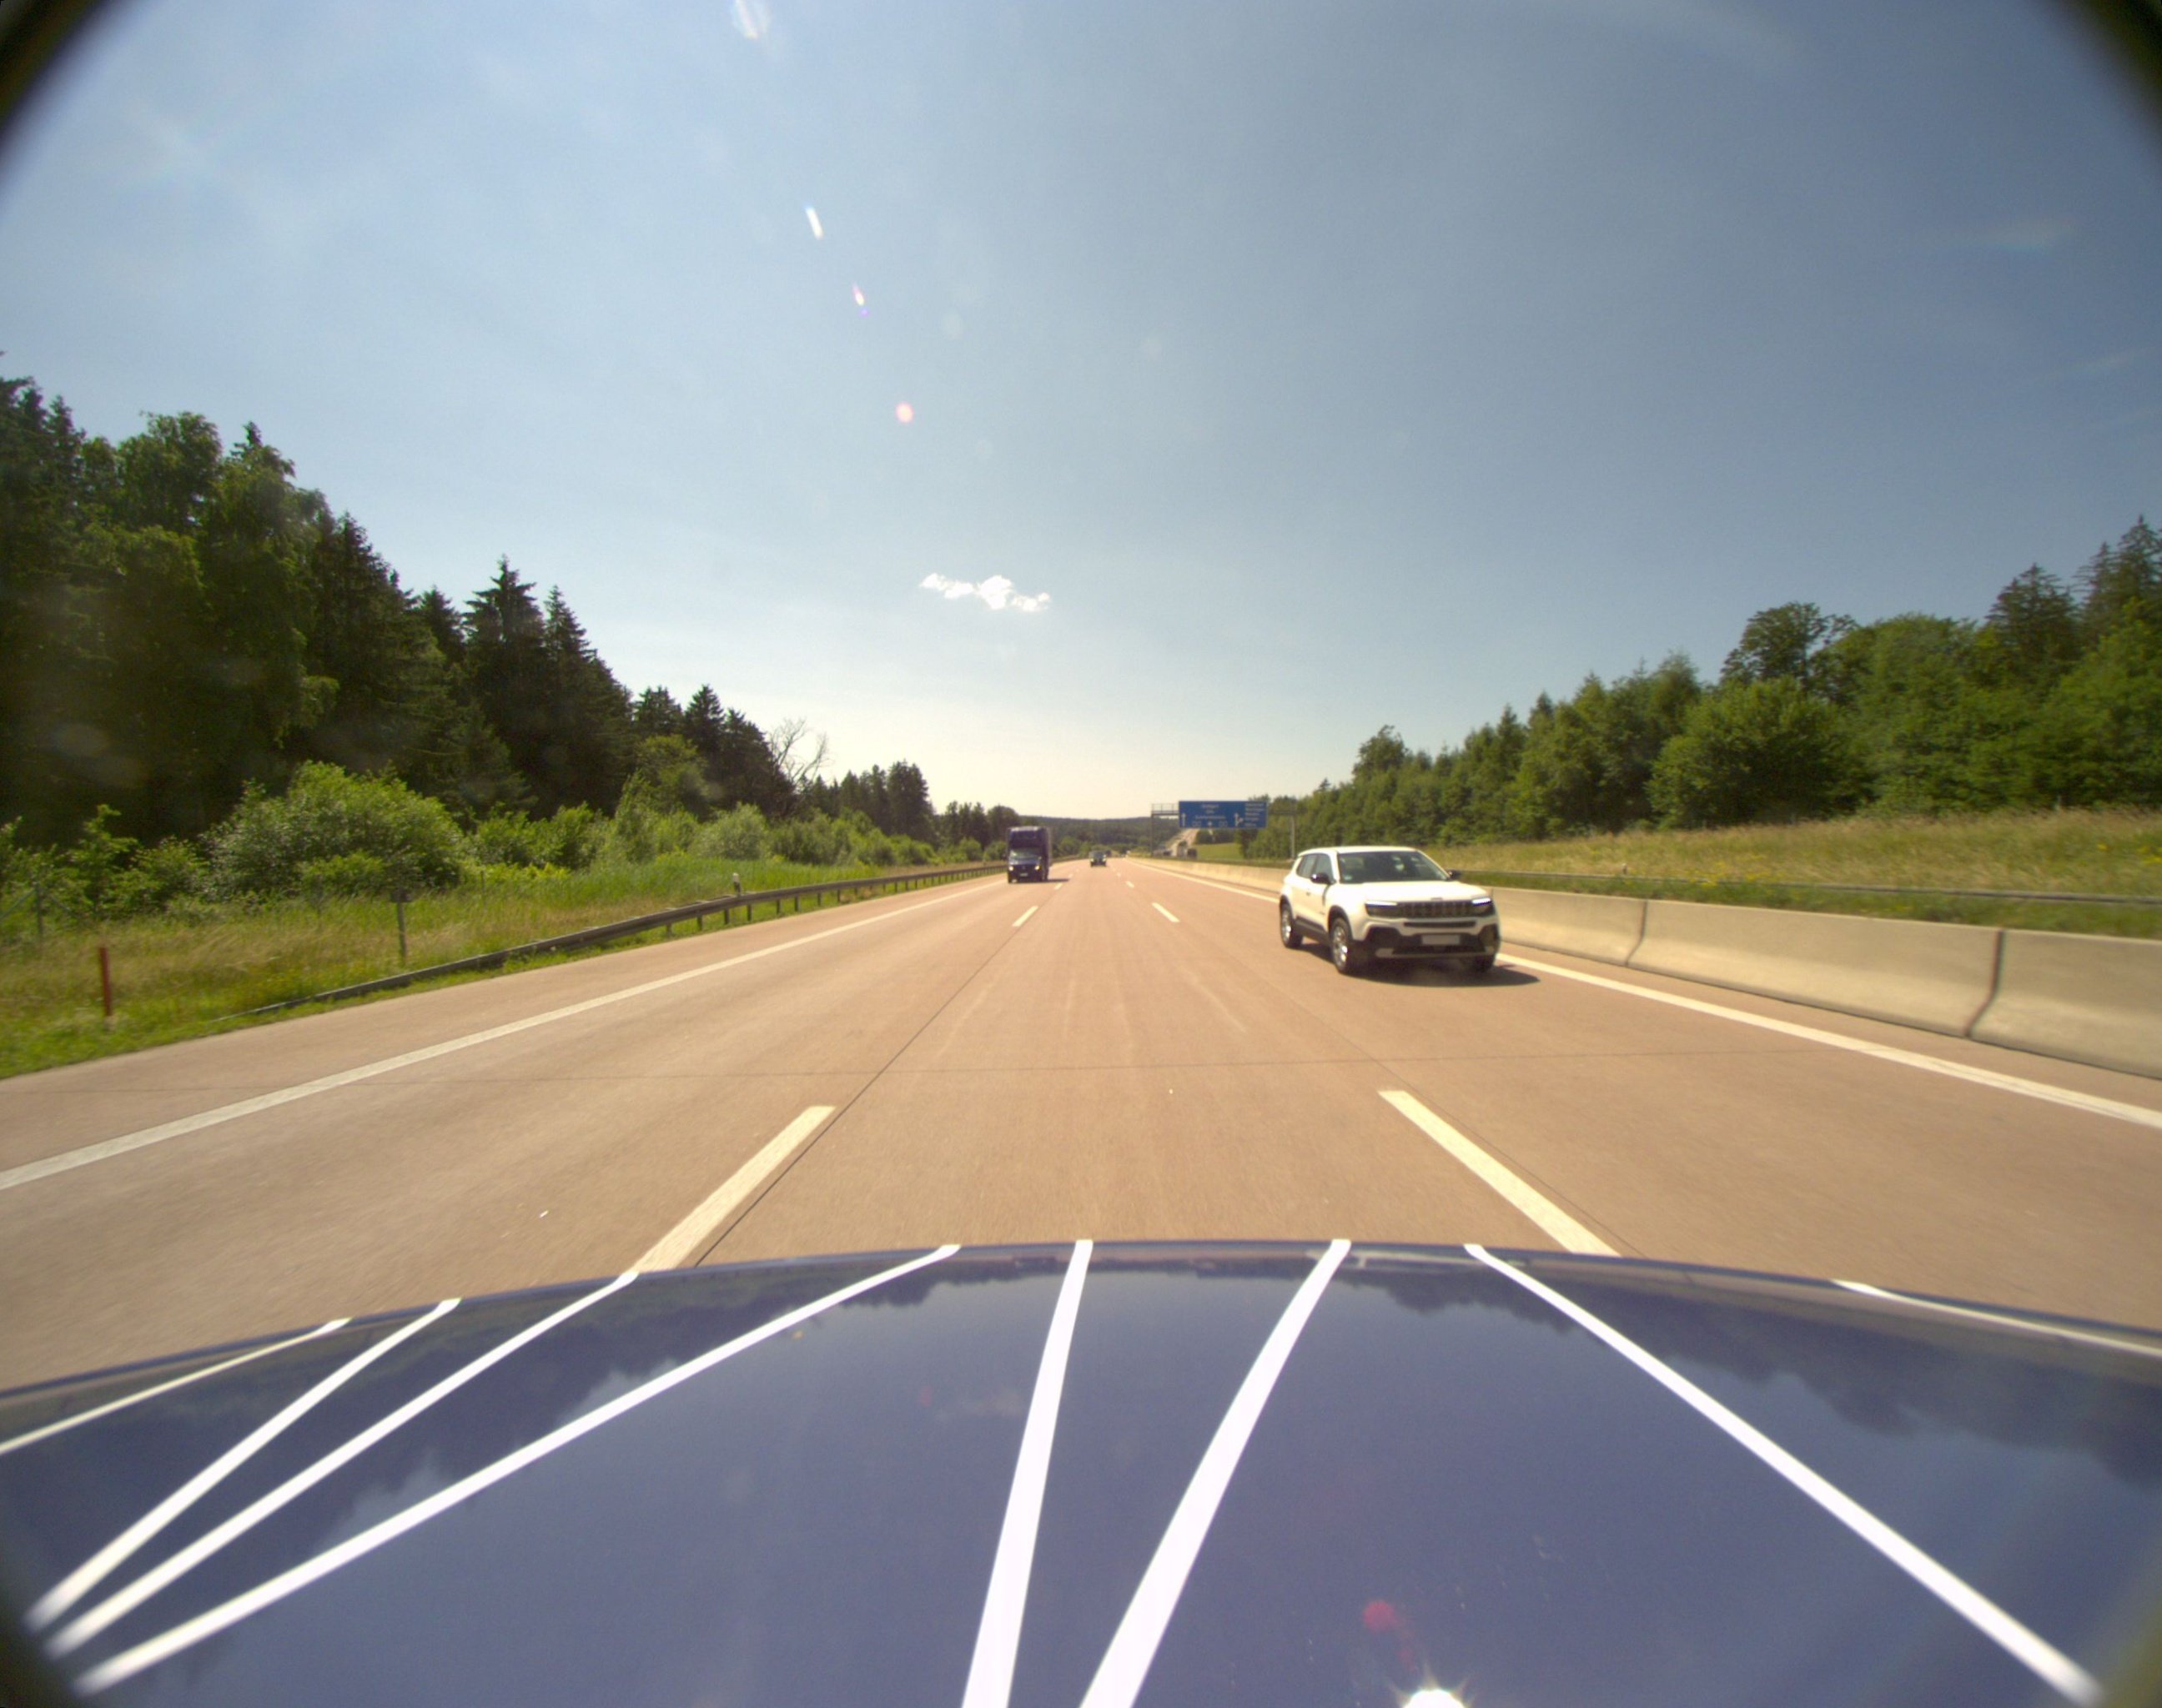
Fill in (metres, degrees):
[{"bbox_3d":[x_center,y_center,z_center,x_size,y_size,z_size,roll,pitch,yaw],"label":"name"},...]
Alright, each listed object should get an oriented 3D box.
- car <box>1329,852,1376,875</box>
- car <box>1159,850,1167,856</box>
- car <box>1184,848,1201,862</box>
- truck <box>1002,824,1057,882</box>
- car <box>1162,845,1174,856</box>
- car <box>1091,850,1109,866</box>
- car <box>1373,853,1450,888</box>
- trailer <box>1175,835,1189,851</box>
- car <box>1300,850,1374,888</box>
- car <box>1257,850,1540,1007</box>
[{"bbox_3d":[20.162,0.665,56.611,1.895,1.584,4.464,-1,0,1],"label":"car"},{"bbox_3d":[23.702,-0.410,219.770,1.895,1.645,4.000,-1,0,1],"label":"car"},{"bbox_3d":[21.183,0.159,144.562,2.238,2.670,6.887,-1,0,1],"label":"car"},{"bbox_3d":[-3.015,-0.075,46.259,2.508,3.200,7.784,-1,0,2],"label":"truck"},{"bbox_3d":[21.927,-0.931,191.226,2.238,2.670,6.098,-1,0,1],"label":"car"},{"bbox_3d":[2.321,0.457,92.986,1.998,1.805,4.565,-1,0,3],"label":"car"},{"bbox_3d":[16.145,0.769,37.415,1.895,1.584,4.464,-1,0,1],"label":"car"},{"bbox_3d":[27.782,-2.967,209.833,2.709,4.408,13.194,-1,0,3],"label":"trailer"},{"bbox_3d":[12.364,0.681,36.978,1.896,1.728,4.462,-2,0,-3],"label":"car"},{"bbox_3d":[3.891,0.768,10.385,1.883,1.598,4.833,-1,0,1],"label":"car"}]
